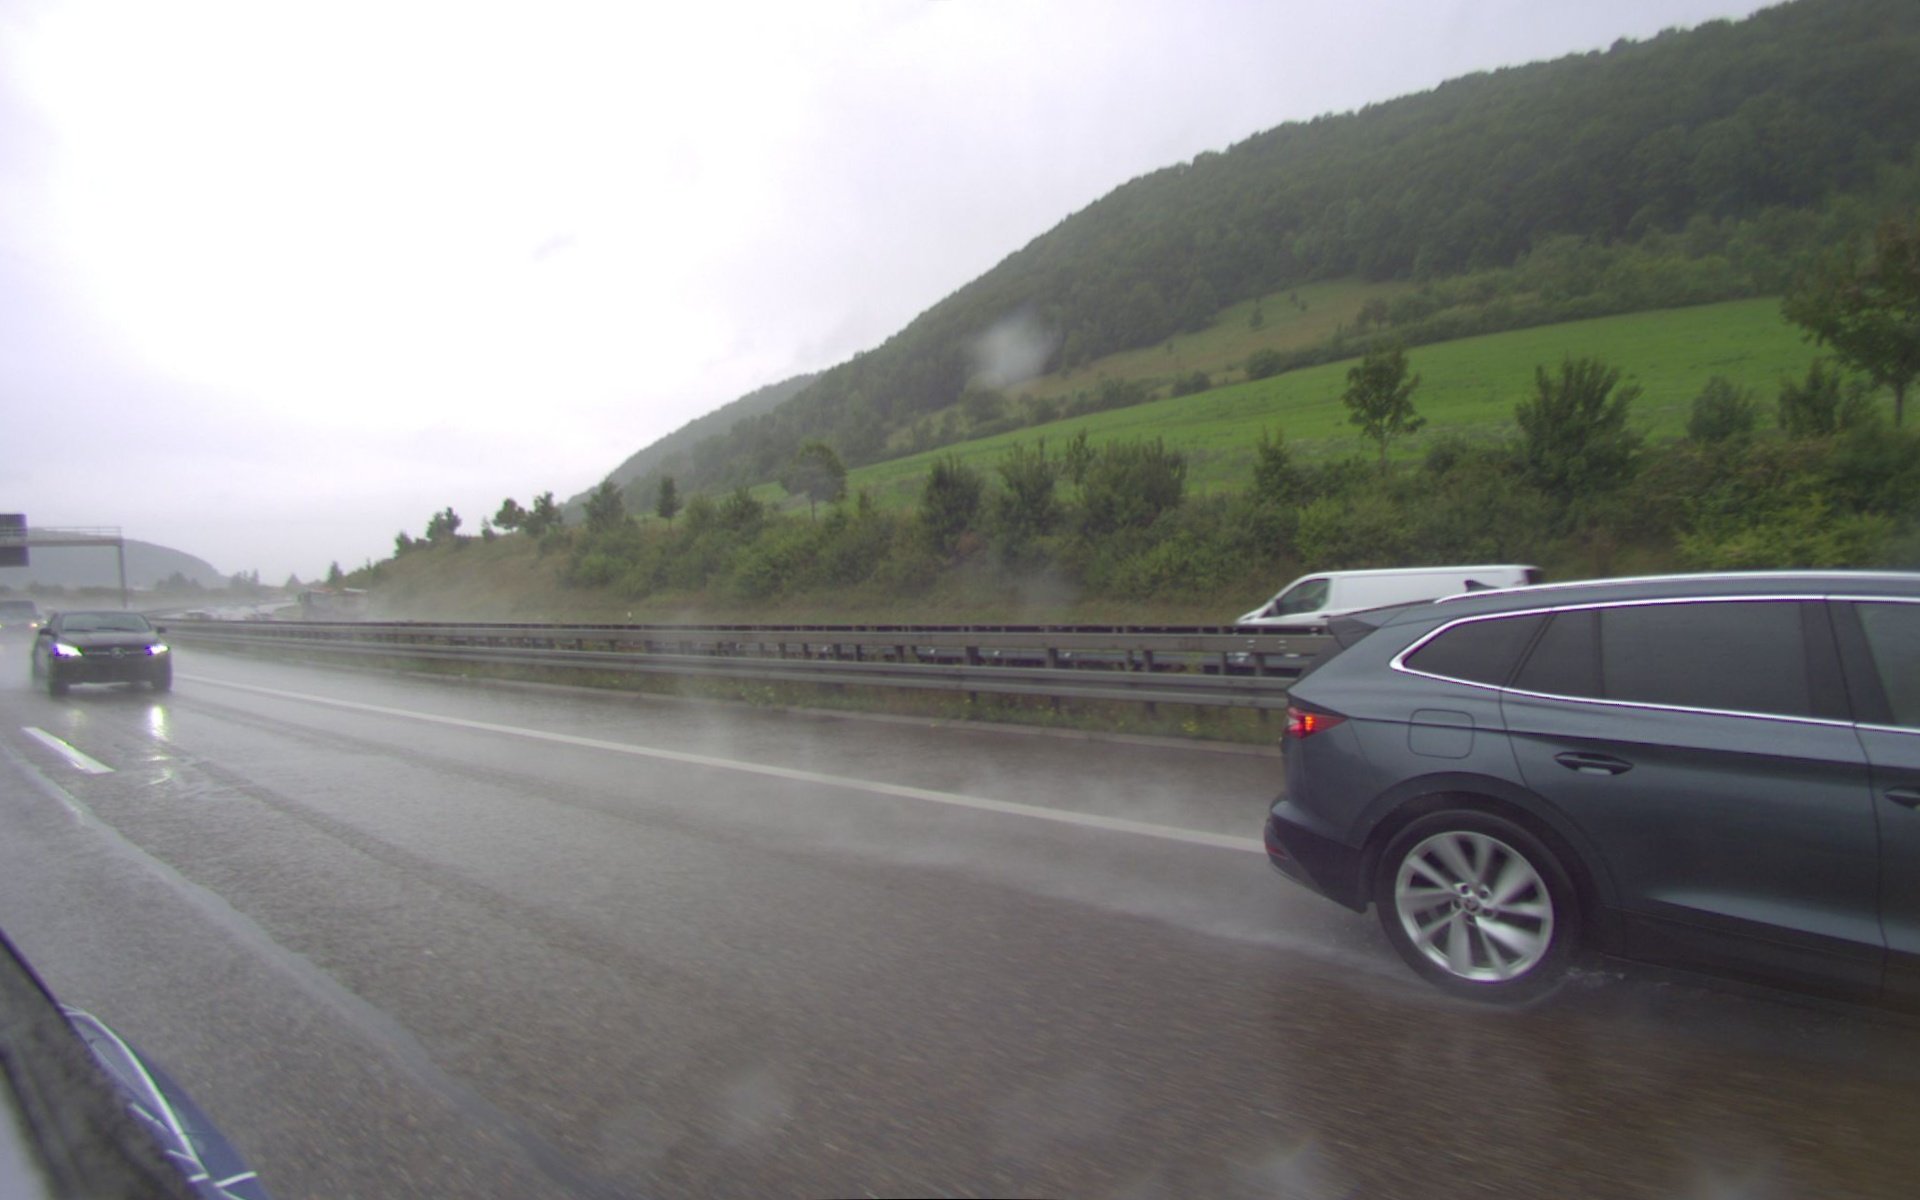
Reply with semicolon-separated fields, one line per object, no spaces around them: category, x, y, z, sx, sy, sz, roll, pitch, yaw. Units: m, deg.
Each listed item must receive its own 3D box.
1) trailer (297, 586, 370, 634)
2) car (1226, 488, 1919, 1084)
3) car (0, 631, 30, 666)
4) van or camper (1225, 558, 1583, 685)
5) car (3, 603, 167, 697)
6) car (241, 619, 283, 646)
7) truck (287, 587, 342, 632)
trailer;-48.956;0.772;78.899;9.399;3.517;2.689;-1;-1;45
car;3.612;0.543;3.422;4.907;1.696;1.972;0;-1;42
car;-57.502;2.910;60.901;3.933;2.029;1.961;-2;-1;42
van or camper;7.511;0.368;17.522;5.342;1.892;1.973;-1;-1;40
car;-18.149;0.952;20.943;3.743;1.715;1.793;0;2;37
car;-55.272;2.573;80.113;4.001;2.029;1.892;-1;0;44
truck;-52.752;0.806;82.662;5.312;3.569;2.685;-1;-1;45
